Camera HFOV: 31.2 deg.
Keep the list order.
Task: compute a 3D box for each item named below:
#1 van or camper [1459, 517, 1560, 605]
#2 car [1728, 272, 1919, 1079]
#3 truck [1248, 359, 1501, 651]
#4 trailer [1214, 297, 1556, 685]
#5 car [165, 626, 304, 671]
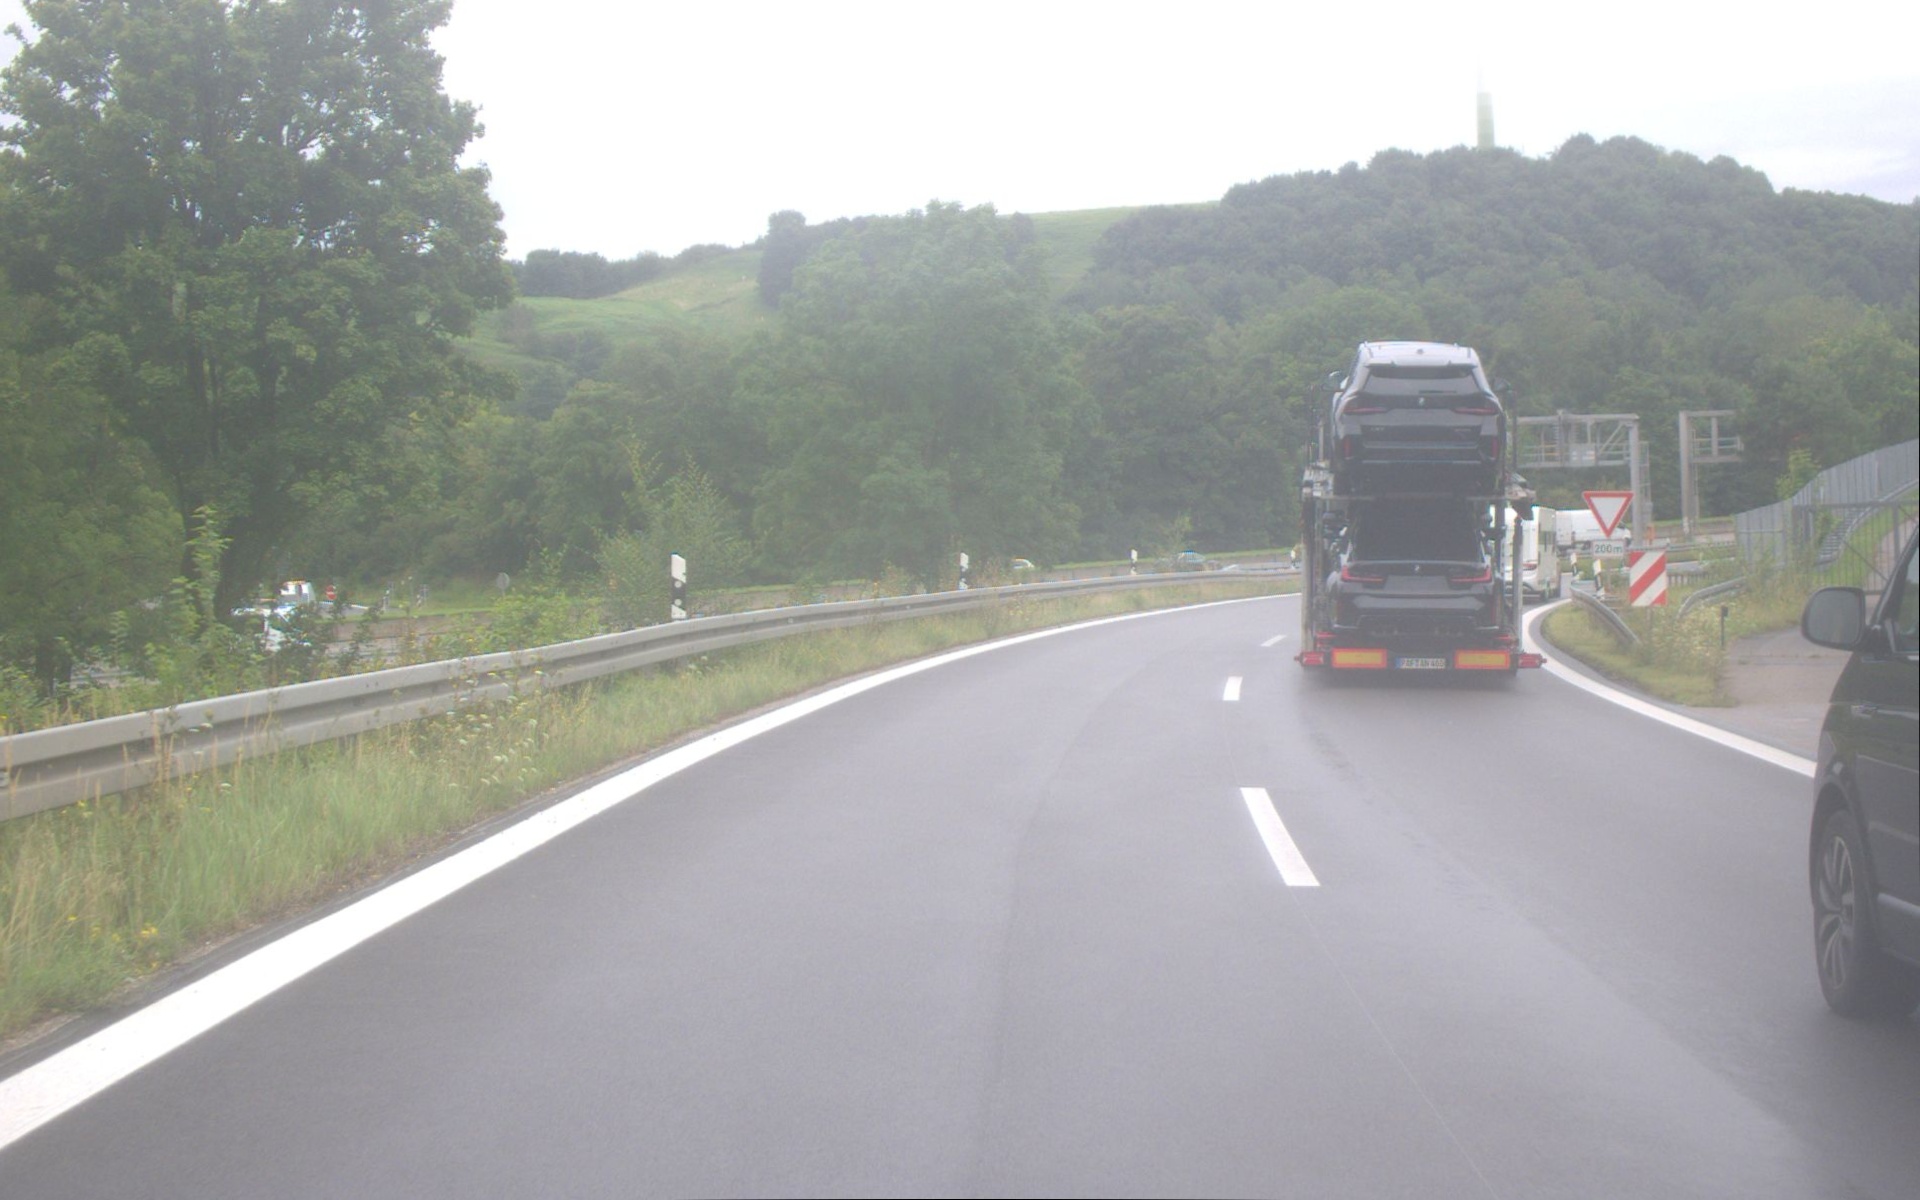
[{"bbox_3d":[14.518,-1.039,90.661,2.094,2.224,4.427,1,1,16],"label":"van or camper"},{"bbox_3d":[3.739,0.232,9.291,2.110,2.257,5.896,1,1,2],"label":"car"},{"bbox_3d":[6.382,-1.415,53.307,3.395,3.986,10.844,1,1,6],"label":"truck"},{"bbox_3d":[5.110,-1.242,41.884,3.450,3.986,12.024,1,1,6],"label":"trailer"},{"bbox_3d":[-29.565,1.950,140.212,5.309,1.711,1.999,-1,0,-43],"label":"car"}]
